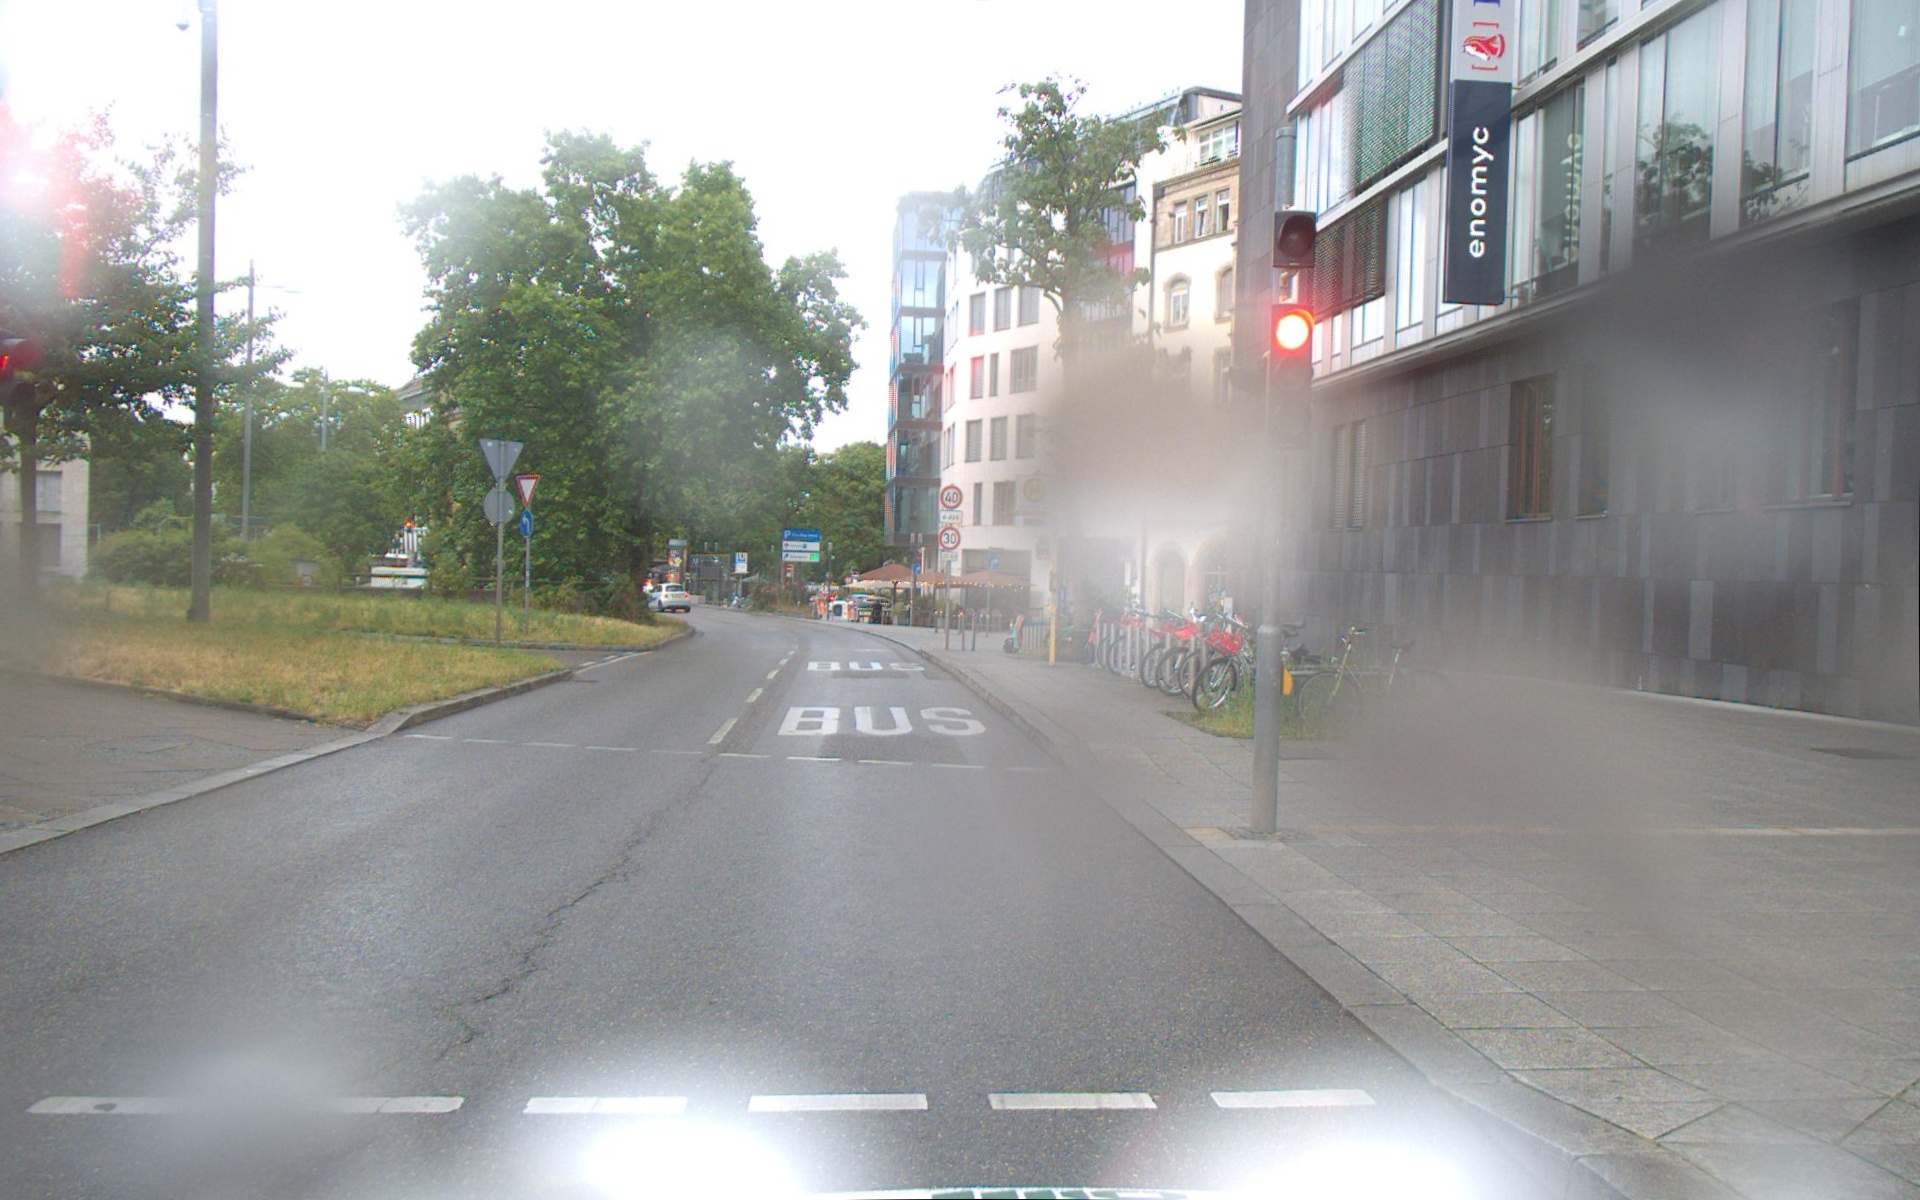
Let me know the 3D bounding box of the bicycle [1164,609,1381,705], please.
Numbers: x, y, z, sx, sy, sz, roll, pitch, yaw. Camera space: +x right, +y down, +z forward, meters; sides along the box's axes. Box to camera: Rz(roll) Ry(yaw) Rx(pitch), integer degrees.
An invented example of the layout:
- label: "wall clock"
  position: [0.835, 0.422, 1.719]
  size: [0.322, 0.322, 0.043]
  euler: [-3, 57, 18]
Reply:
- label: "bicycle"
  position: [3.767, 0.685, 20.009]
  size: [2.486, 1.106, 0.677]
  euler: [1, 0, -6]

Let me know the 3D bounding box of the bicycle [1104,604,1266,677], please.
- label: "bicycle"
  position: [3.590, 0.644, 26.461]
  size: [2.486, 1.106, 0.677]
  euler: [1, 0, -6]

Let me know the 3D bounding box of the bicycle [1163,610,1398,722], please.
- label: "bicycle"
  position: [3.628, 0.742, 18.781]
  size: [2.487, 1.106, 0.677]
  euler: [3, 0, -6]

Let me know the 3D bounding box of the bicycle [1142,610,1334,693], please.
- label: "bicycle"
  position: [3.776, 0.694, 22.540]
  size: [2.486, 1.078, 0.677]
  euler: [1, 0, -6]

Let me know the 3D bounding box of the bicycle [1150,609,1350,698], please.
- label: "bicycle"
  position: [3.783, 0.695, 21.674]
  size: [2.486, 1.106, 0.677]
  euler: [1, 0, -6]

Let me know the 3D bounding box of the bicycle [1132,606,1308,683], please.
- label: "bicycle"
  position: [3.864, 0.658, 24.647]
  size: [2.486, 1.106, 0.677]
  euler: [1, 0, -6]

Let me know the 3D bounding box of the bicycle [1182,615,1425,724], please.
- label: "bicycle"
  position: [3.716, 0.748, 17.979]
  size: [2.487, 1.106, 0.677]
  euler: [1, 0, -6]

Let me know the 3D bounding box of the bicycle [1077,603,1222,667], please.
- label: "bicycle"
  position: [3.375, 0.623, 29.568]
  size: [2.486, 1.106, 0.627]
  euler: [1, 0, -6]

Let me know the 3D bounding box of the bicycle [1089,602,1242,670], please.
- label: "bicycle"
  position: [3.479, 0.608, 28.100]
  size: [2.486, 1.106, 0.677]
  euler: [1, 0, -6]

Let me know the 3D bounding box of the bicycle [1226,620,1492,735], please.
- label: "bicycle"
  position: [3.961, 0.768, 16.505]
  size: [2.487, 1.075, 0.677]
  euler: [1, 0, -6]

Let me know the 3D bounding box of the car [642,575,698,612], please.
- label: "car"
  position: [-15.748, -0.359, 89.711]
  size: [1.968, 1.675, 3.971]
  euler: [6, 0, -24]

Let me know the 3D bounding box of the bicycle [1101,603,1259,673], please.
- label: "bicycle"
  position: [3.613, 0.626, 27.213]
  size: [2.486, 1.106, 0.677]
  euler: [1, 0, -6]

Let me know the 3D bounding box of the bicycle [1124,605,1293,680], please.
- label: "bicycle"
  position: [3.838, 0.653, 25.625]
  size: [2.486, 1.106, 0.677]
  euler: [1, 0, -6]

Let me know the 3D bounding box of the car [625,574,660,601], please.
- label: "car"
  position: [-21.869, -0.883, 113.795]
  size: [2.142, 1.730, 3.986]
  euler: [3, 0, -14]

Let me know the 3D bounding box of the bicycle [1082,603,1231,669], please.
- label: "bicycle"
  position: [3.421, 0.617, 28.847]
  size: [2.486, 1.106, 0.677]
  euler: [1, 0, -6]

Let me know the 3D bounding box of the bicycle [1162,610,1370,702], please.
- label: "bicycle"
  position: [3.851, 0.704, 20.865]
  size: [2.486, 1.106, 0.677]
  euler: [1, 0, -6]

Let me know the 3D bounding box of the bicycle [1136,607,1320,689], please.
- label: "bicycle"
  position: [3.791, 0.676, 23.450]
  size: [2.486, 1.106, 0.677]
  euler: [1, 0, -6]
